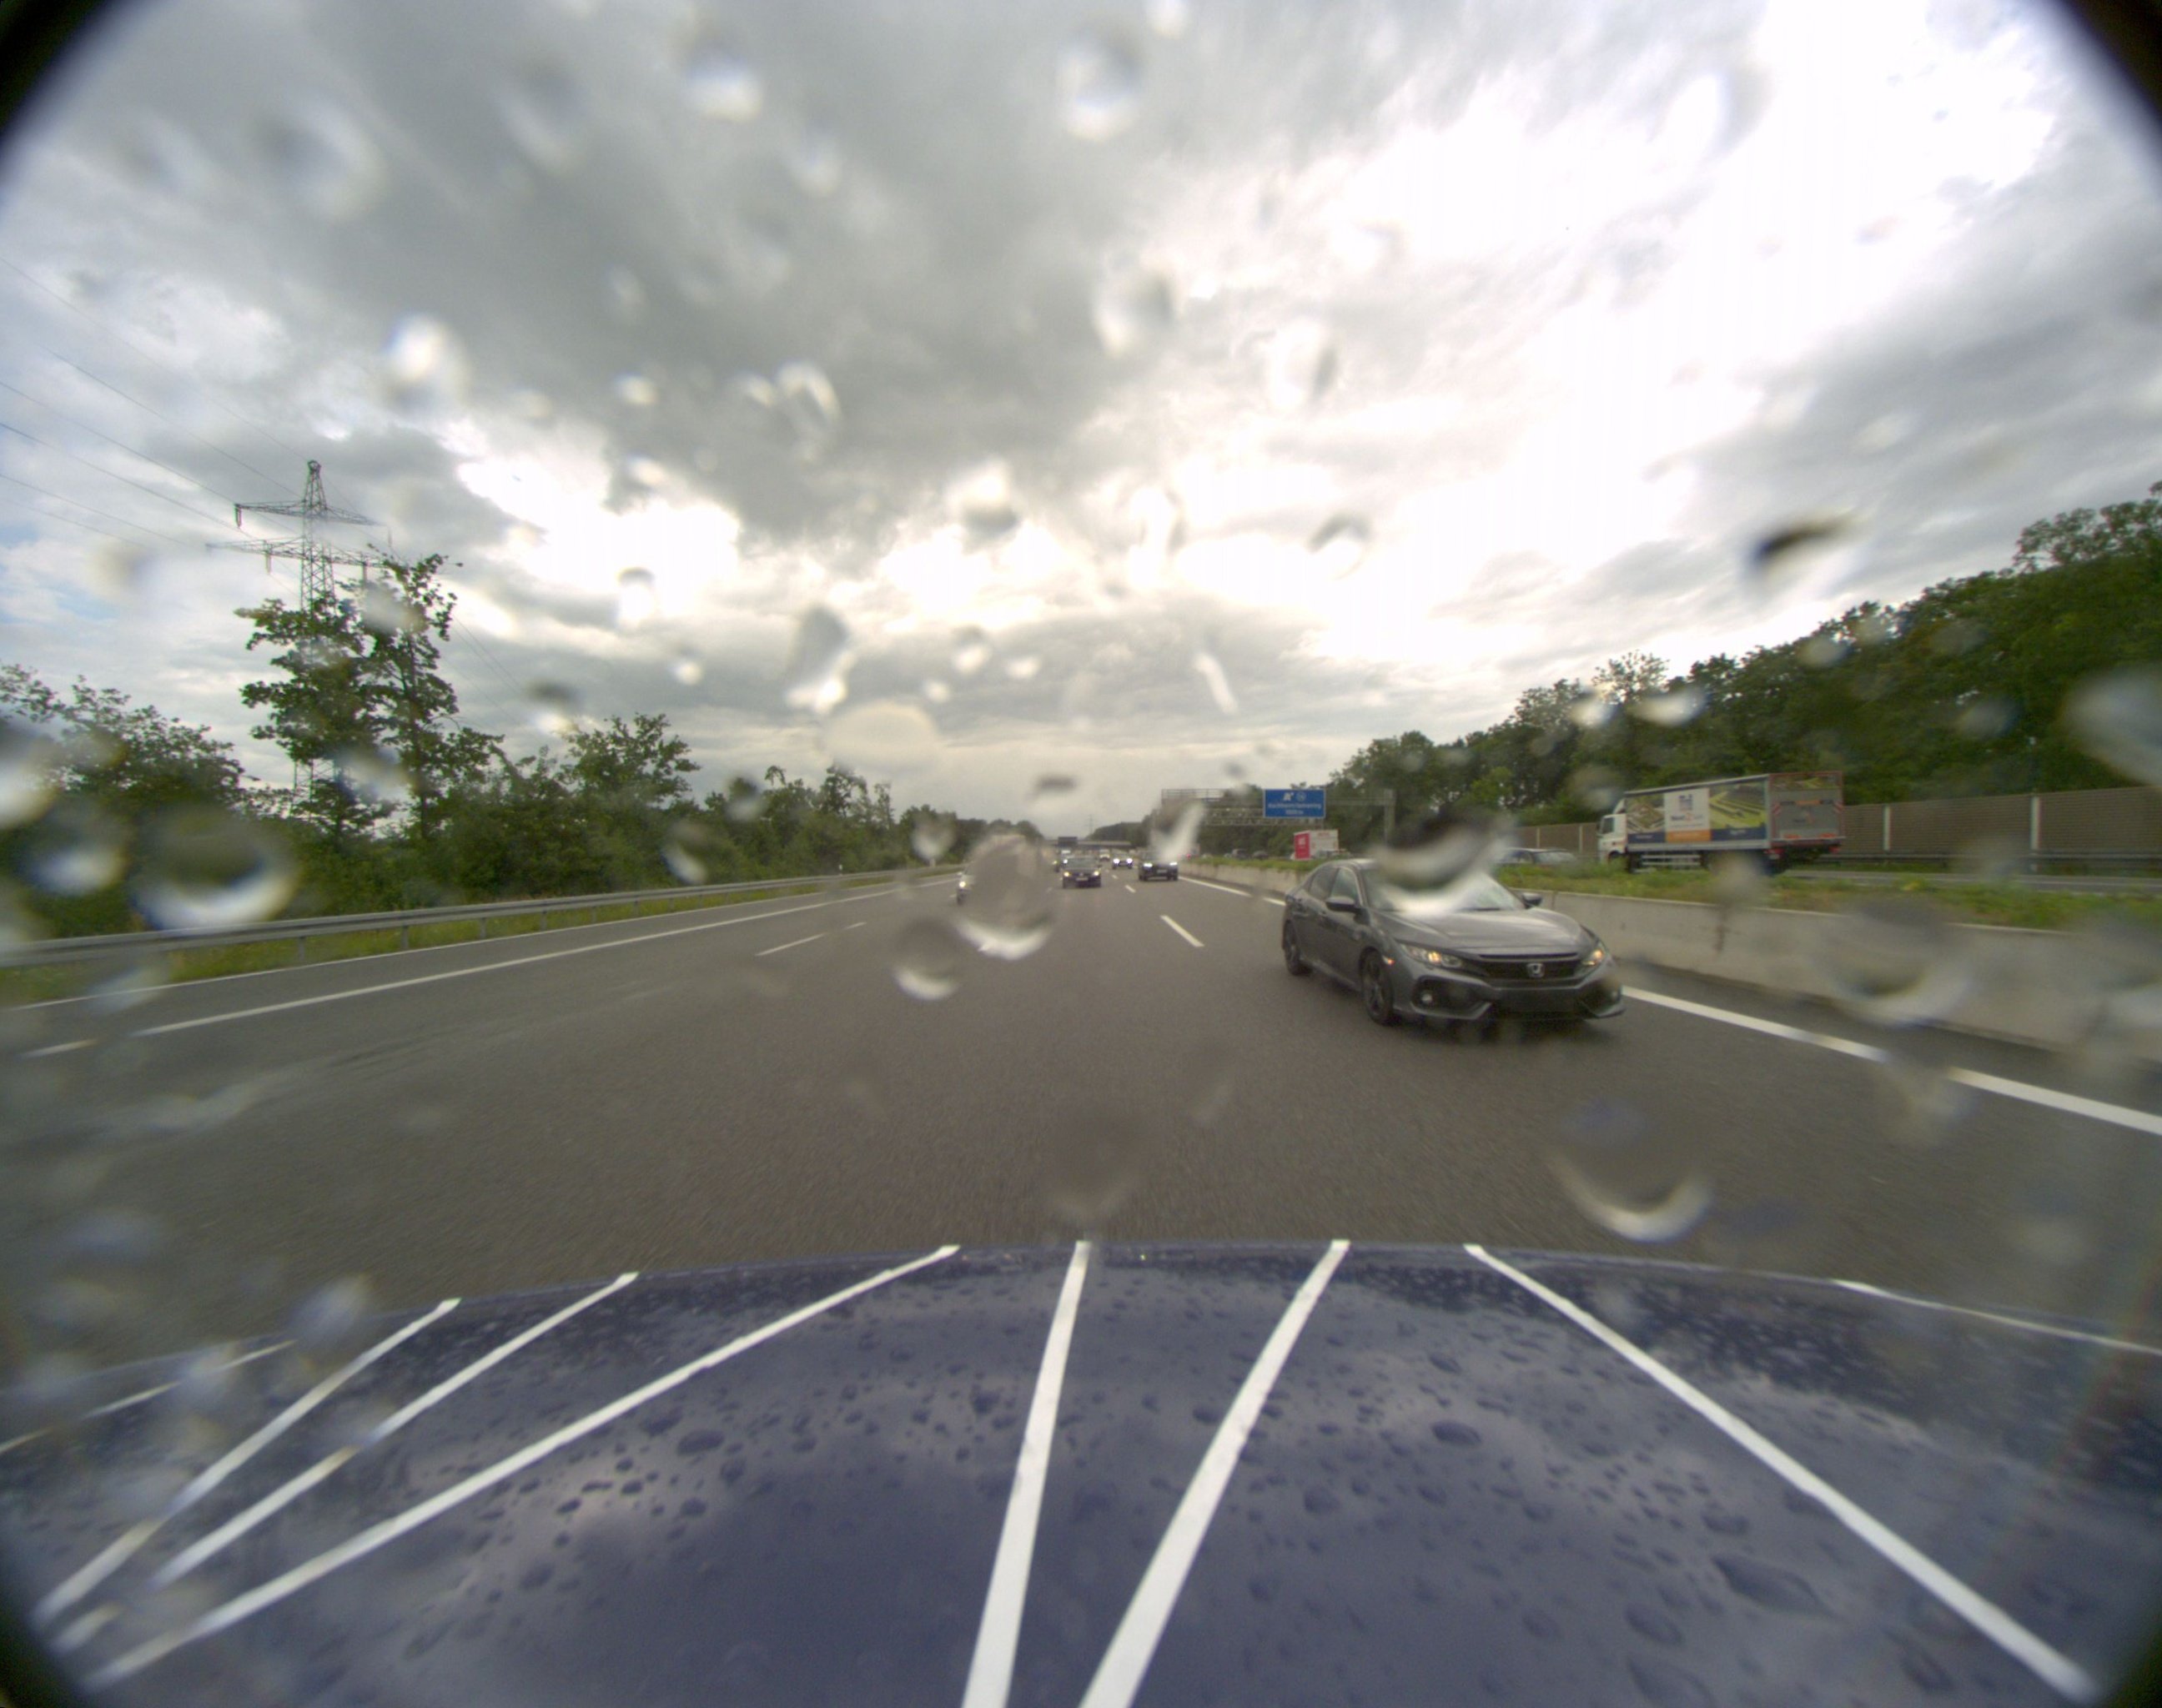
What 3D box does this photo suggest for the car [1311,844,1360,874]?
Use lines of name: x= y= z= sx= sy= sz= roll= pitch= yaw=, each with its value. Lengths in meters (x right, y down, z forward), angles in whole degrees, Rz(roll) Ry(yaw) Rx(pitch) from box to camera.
car: x=14.367 y=0.252 z=43.002 sx=1.592 sy=1.528 sz=3.548 roll=-2 pitch=1 yaw=1

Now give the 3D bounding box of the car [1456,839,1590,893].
car: x=14.096 y=0.341 z=24.527 sx=1.998 sy=1.528 sz=3.999 roll=-2 pitch=1 yaw=1

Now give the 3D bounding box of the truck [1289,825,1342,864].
truck: x=18.719 y=-0.758 z=60.983 sx=2.335 sy=2.812 sz=6.248 roll=-2 pitch=1 yaw=1

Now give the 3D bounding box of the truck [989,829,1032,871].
truck: x=-6.650 y=-0.411 z=73.091 sx=2.869 sy=3.633 sz=9.594 roll=-2 pitch=1 yaw=2

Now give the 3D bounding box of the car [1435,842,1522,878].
car: x=18.859 y=0.254 z=36.277 sx=1.770 sy=1.528 sz=4.582 roll=-2 pitch=1 yaw=1

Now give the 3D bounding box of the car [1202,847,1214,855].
car: x=27.032 y=-0.593 z=162.090 sx=1.998 sy=1.528 sz=3.999 roll=-2 pitch=1 yaw=1

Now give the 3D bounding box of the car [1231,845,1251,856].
car: x=22.755 y=-0.492 z=108.046 sx=1.998 sy=1.528 sz=3.999 roll=-2 pitch=1 yaw=1

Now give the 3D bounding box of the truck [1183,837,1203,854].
truck: x=27.063 y=-2.064 z=183.528 sx=3.202 sy=4.005 sz=10.842 roll=-2 pitch=1 yaw=1

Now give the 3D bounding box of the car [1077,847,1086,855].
car: x=0.136 y=-0.737 z=199.511 sx=1.998 sy=2.002 sz=4.000 roll=-2 pitch=1 yaw=1

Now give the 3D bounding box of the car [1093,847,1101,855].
car: x=3.939 y=-0.770 z=186.120 sx=1.998 sy=2.002 sz=4.000 roll=-2 pitch=1 yaw=1

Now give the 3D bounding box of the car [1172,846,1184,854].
car: x=19.928 y=-0.918 z=156.354 sx=1.998 sy=1.528 sz=3.999 roll=-2 pitch=1 yaw=1

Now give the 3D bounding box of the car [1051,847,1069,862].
car: x=-2.667 y=0.045 z=97.515 sx=1.998 sy=1.701 sz=3.999 roll=-2 pitch=1 yaw=1

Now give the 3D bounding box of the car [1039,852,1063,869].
car: x=-2.675 y=0.586 z=68.396 sx=1.840 sy=1.437 sz=4.000 roll=-2 pitch=1 yaw=2

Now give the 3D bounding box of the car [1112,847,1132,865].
car: x=4.035 y=0.154 z=74.835 sx=1.840 sy=1.615 sz=4.915 roll=-2 pitch=1 yaw=4

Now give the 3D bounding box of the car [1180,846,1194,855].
car: x=19.293 y=-0.725 z=139.022 sx=1.998 sy=1.528 sz=3.999 roll=-2 pitch=1 yaw=1

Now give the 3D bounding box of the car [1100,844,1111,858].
car: x=4.673 y=-0.631 z=144.745 sx=1.998 sy=2.524 sz=4.808 roll=-2 pitch=1 yaw=1

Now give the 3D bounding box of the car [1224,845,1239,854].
car: x=26.976 y=-0.829 z=136.328 sx=1.998 sy=1.528 sz=3.999 roll=-2 pitch=1 yaw=1

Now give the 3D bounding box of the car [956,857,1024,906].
car: x=-3.029 y=0.883 z=25.941 sx=1.683 sy=1.437 sz=4.000 roll=-2 pitch=1 yaw=2

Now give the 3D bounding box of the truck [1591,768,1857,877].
truck: x=26.334 y=-1.180 z=32.133 sx=2.806 sy=3.812 sz=10.007 roll=-2 pitch=1 yaw=1

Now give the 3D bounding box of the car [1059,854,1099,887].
car: x=-0.035 y=0.742 z=36.192 sx=1.717 sy=1.437 sz=4.000 roll=-2 pitch=1 yaw=2

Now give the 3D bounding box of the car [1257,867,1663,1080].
car: x=3.290 y=0.898 z=7.950 sx=1.765 sy=1.361 sz=5.059 roll=-2 pitch=0 yaw=1

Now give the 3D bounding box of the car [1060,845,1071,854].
car: x=-3.380 y=-0.999 z=165.016 sx=1.998 sy=2.002 sz=4.000 roll=-2 pitch=1 yaw=1

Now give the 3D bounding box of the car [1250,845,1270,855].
car: x=26.958 y=-0.620 z=114.662 sx=1.998 sy=1.528 sz=3.999 roll=-2 pitch=1 yaw=1

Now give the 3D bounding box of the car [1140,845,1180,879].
car: x=4.321 y=0.382 z=42.202 sx=1.913 sy=1.681 sz=5.169 roll=-2 pitch=1 yaw=4
